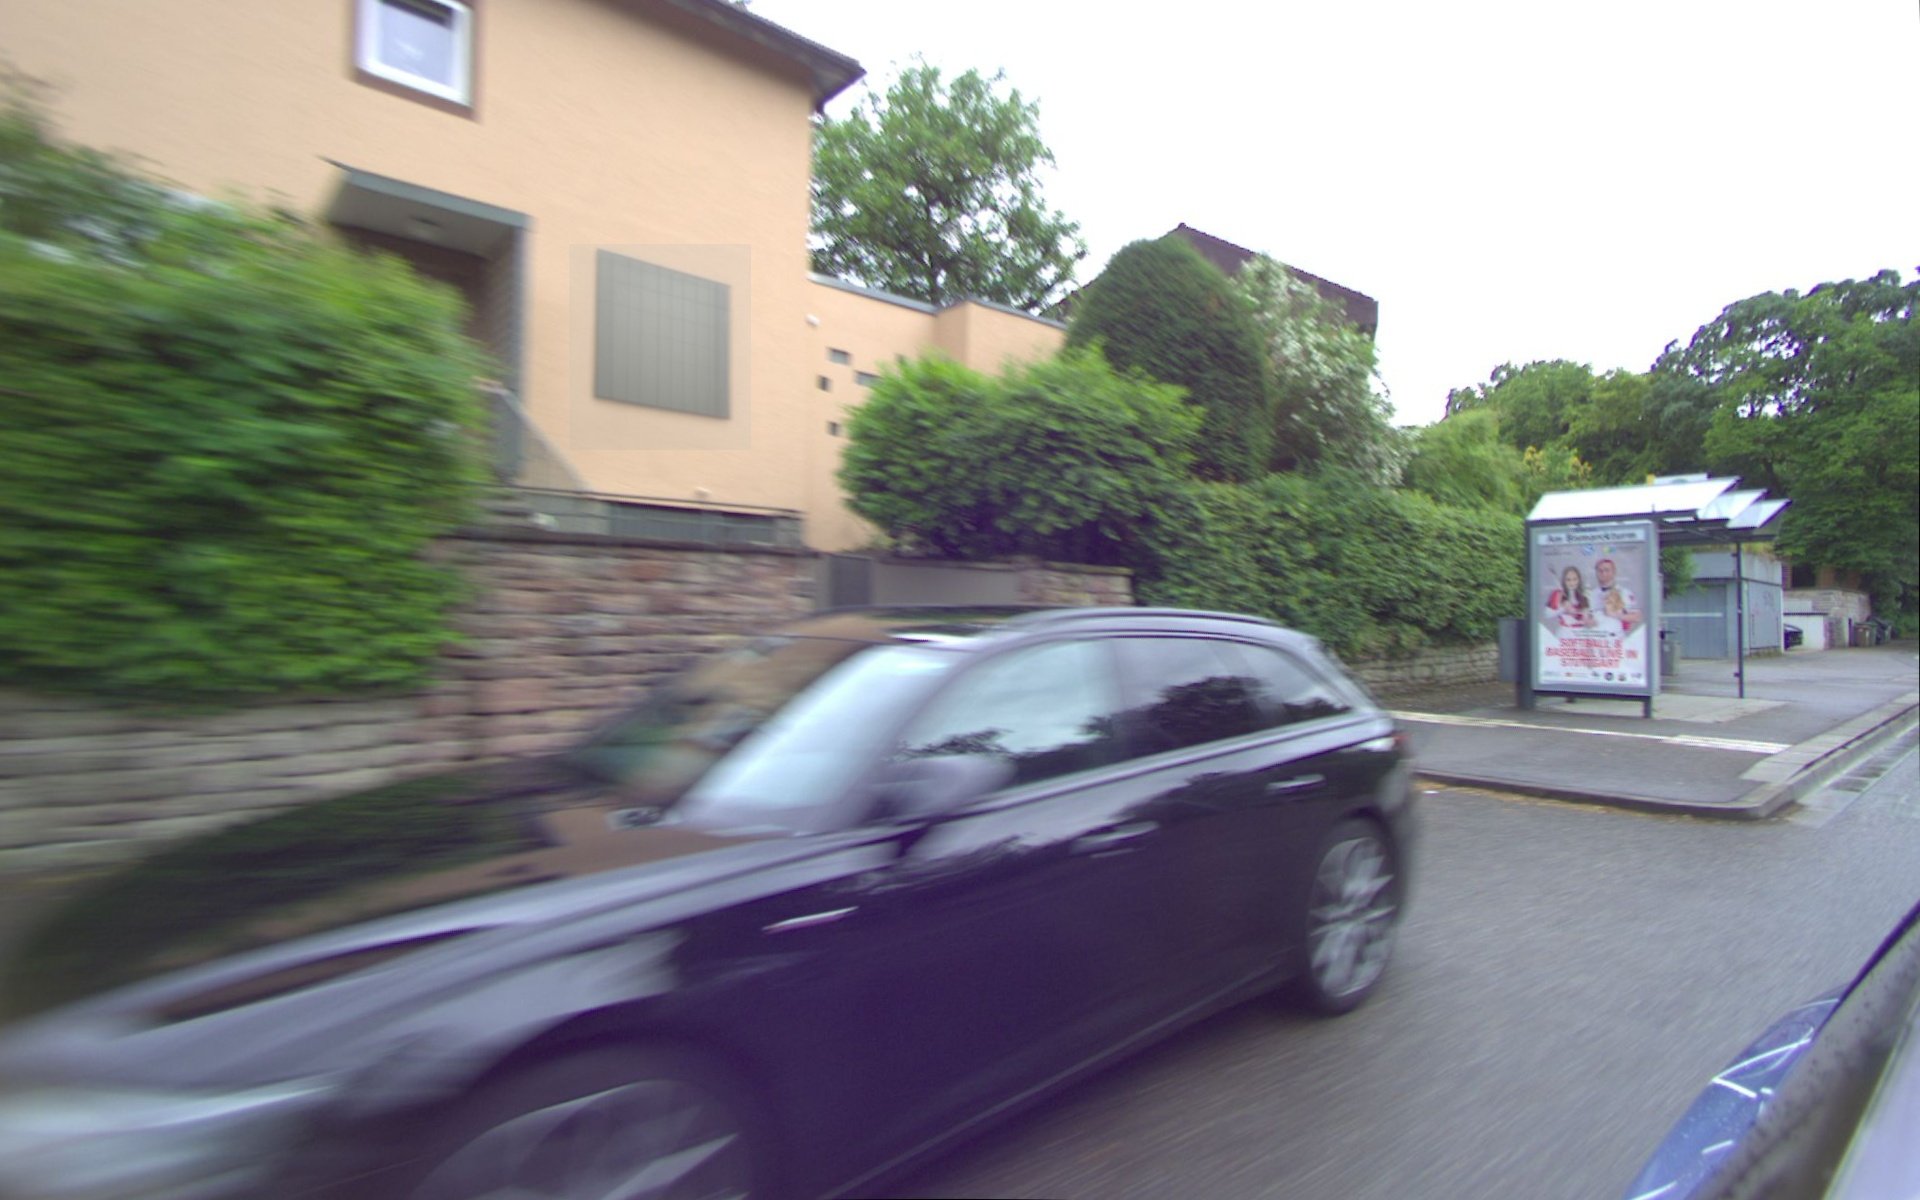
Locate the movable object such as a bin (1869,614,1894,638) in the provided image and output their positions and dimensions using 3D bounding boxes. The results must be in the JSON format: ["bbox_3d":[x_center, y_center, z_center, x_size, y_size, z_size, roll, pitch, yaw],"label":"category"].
[{"bbox_3d":[39.006,1.098,42.848,0.648,1.017,0.666,1,-2,-40],"label":"movable object such as a bin"}]

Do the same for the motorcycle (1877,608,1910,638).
[{"bbox_3d":[40.333,0.995,43.711,1.978,1.261,0.776,0,-2,-41],"label":"motorcycle"}]

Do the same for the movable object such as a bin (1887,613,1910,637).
[{"bbox_3d":[42.945,1.122,46.299,0.689,1.082,0.666,1,-2,-40],"label":"movable object such as a bin"}]

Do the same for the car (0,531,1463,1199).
[{"bbox_3d":[-0.203,0.661,3.324,4.552,1.566,1.832,-1,1,-43],"label":"car"}]

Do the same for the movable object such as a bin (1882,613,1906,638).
[{"bbox_3d":[41.387,1.116,44.829,0.648,1.082,0.666,1,-2,-40],"label":"movable object such as a bin"}]

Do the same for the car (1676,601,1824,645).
[{"bbox_3d":[30.411,0.844,39.045,1.862,1.526,4.225,1,0,-41],"label":"car"}]

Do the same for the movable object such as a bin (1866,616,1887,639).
[{"bbox_3d":[38.415,1.146,42.417,0.540,0.949,0.569,1,-2,-40],"label":"movable object such as a bin"}]
